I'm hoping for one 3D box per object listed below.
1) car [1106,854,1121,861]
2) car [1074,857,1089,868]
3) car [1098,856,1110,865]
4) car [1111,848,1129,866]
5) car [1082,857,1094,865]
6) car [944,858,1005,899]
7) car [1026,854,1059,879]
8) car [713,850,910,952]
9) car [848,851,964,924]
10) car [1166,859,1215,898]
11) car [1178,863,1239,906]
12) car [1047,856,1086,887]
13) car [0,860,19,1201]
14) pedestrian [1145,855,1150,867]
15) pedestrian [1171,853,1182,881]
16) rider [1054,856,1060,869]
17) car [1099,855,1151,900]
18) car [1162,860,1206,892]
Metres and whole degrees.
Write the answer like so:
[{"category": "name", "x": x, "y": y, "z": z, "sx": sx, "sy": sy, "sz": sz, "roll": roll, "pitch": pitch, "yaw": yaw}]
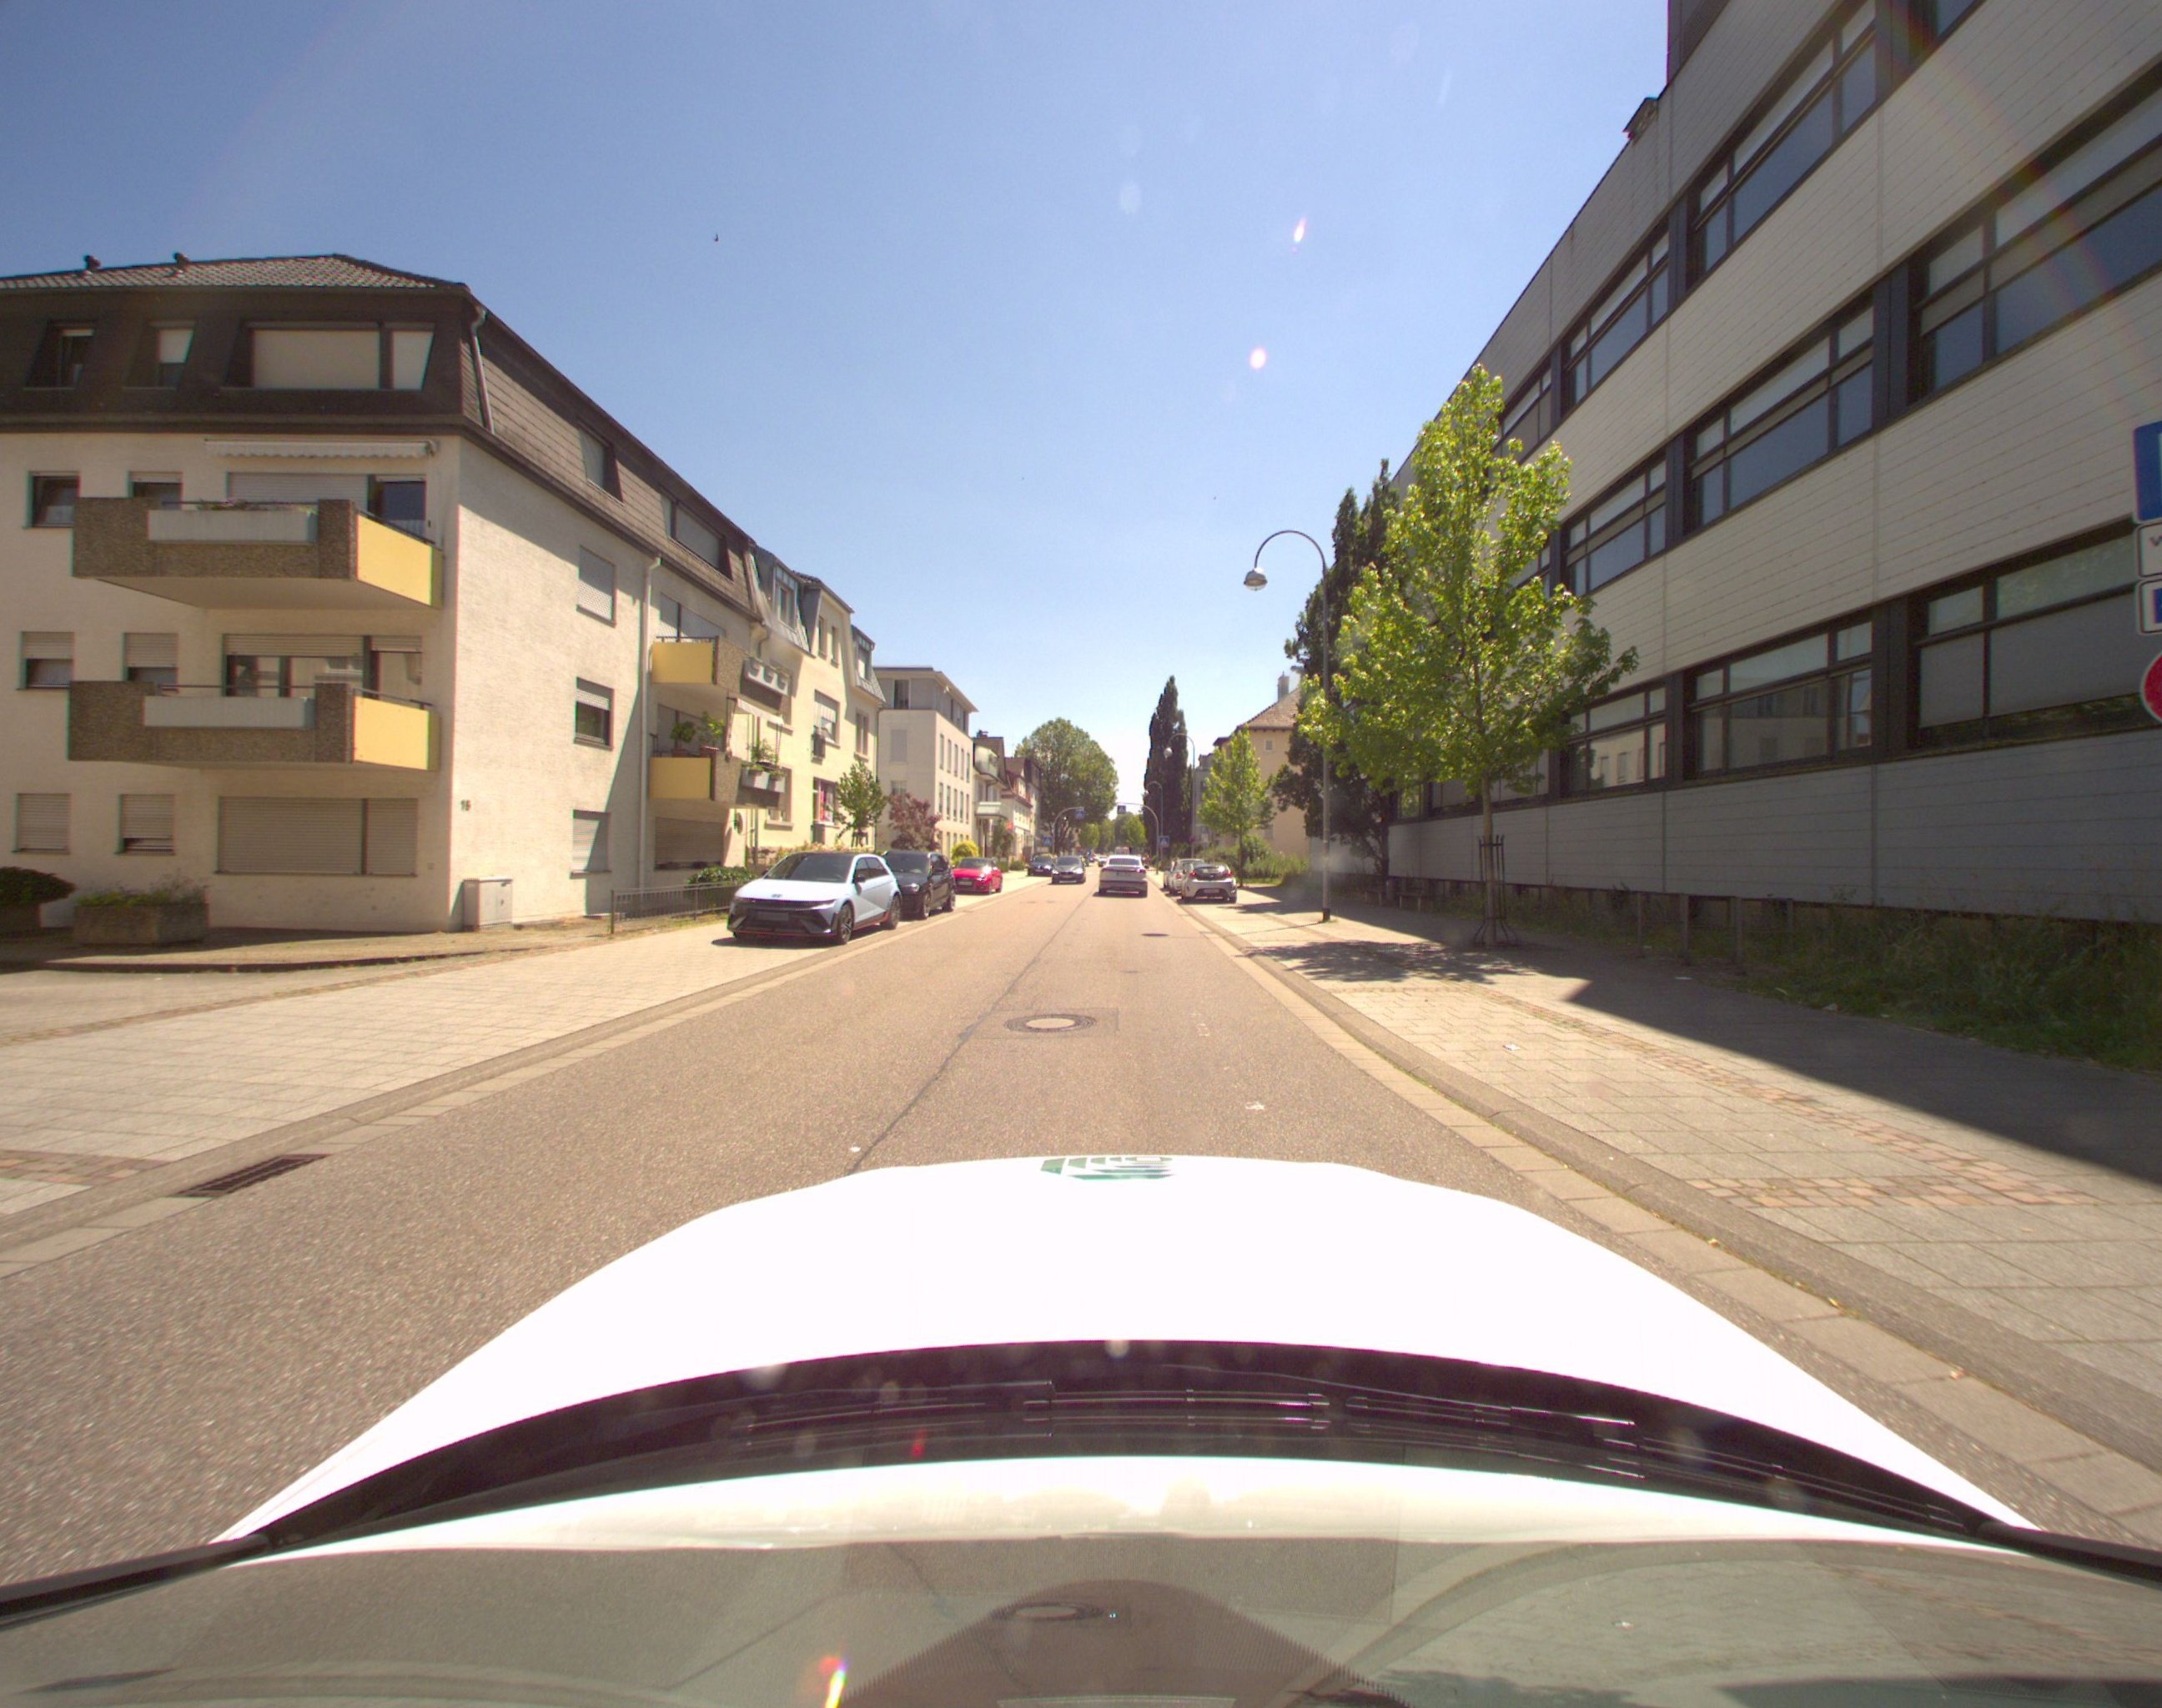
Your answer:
[{"category": "car", "x": 8.720, "y": 0.932, "z": 217.808, "sx": 3.963, "sy": 1.651, "sz": 2.005, "roll": 0, "pitch": 0, "yaw": 9}, {"category": "car", "x": 0.112, "y": 1.175, "z": 117.540, "sx": 1.986, "sy": 1.520, "sz": 4.002, "roll": 0, "pitch": 0, "yaw": 2}, {"category": "car", "x": 3.933, "y": 1.135, "z": 137.302, "sx": 1.971, "sy": 1.520, "sz": 4.002, "roll": 0, "pitch": 0, "yaw": 2}, {"category": "car", "x": 4.839, "y": 0.382, "z": 102.407, "sx": 2.062, "sy": 2.197, "sz": 5.139, "roll": -2, "pitch": 0, "yaw": 1}, {"category": "car", "x": 1.304, "y": 1.278, "z": 152.125, "sx": 1.986, "sy": 1.520, "sz": 4.002, "roll": 0, "pitch": 0, "yaw": 2}, {"category": "car", "x": -4.213, "y": 0.932, "z": 32.681, "sx": 1.642, "sy": 1.419, "sz": 3.909, "roll": 3, "pitch": 0, "yaw": 3}, {"category": "car", "x": -2.786, "y": 0.894, "z": 59.818, "sx": 1.918, "sy": 1.720, "sz": 4.475, "roll": 0, "pitch": 0, "yaw": 3}, {"category": "car", "x": -4.869, "y": 0.755, "z": 15.544, "sx": 1.918, "sy": 1.573, "sz": 4.663, "roll": 3, "pitch": 0, "yaw": 3}, {"category": "car", "x": -4.406, "y": 0.771, "z": 21.212, "sx": 1.718, "sy": 1.619, "sz": 4.575, "roll": 3, "pitch": 0, "yaw": 3}, {"category": "car", "x": 4.665, "y": 1.000, "z": 35.086, "sx": 1.652, "sy": 1.488, "sz": 4.348, "roll": -1, "pitch": 0, "yaw": 2}, {"category": "car", "x": 4.513, "y": 1.029, "z": 29.358, "sx": 1.854, "sy": 1.373, "sz": 4.004, "roll": 0, "pitch": 0, "yaw": 4}, {"category": "car", "x": -0.787, "y": 0.941, "z": 46.116, "sx": 1.966, "sy": 1.670, "sz": 4.473, "roll": 0, "pitch": 0, "yaw": 2}, {"category": "car", "x": -5.621, "y": 0.706, "z": 1.157, "sx": 1.918, "sy": 1.436, "sz": 4.663, "roll": 3, "pitch": 0, "yaw": 3}, {"category": "pedestrian", "x": 9.327, "y": 1.006, "z": 114.704, "sx": 0.692, "sy": 1.736, "sz": 0.667, "roll": 0, "pitch": 0, "yaw": -2}, {"category": "pedestrian", "x": 6.172, "y": 0.845, "z": 52.499, "sx": 0.635, "sy": 1.758, "sz": 0.616, "roll": 0, "pitch": 0, "yaw": -2}, {"category": "rider", "x": -2.915, "y": 1.069, "z": 97.548, "sx": 0.659, "sy": 1.553, "sz": 0.662, "roll": 0, "pitch": 0, "yaw": 2}, {"category": "car", "x": 1.812, "y": 0.898, "z": 33.390, "sx": 1.928, "sy": 1.614, "sz": 4.475, "roll": 3, "pitch": 0, "yaw": 3}, {"category": "car", "x": 4.994, "y": 1.040, "z": 39.834, "sx": 1.719, "sy": 1.383, "sz": 4.404, "roll": -1, "pitch": 0, "yaw": 2}]
